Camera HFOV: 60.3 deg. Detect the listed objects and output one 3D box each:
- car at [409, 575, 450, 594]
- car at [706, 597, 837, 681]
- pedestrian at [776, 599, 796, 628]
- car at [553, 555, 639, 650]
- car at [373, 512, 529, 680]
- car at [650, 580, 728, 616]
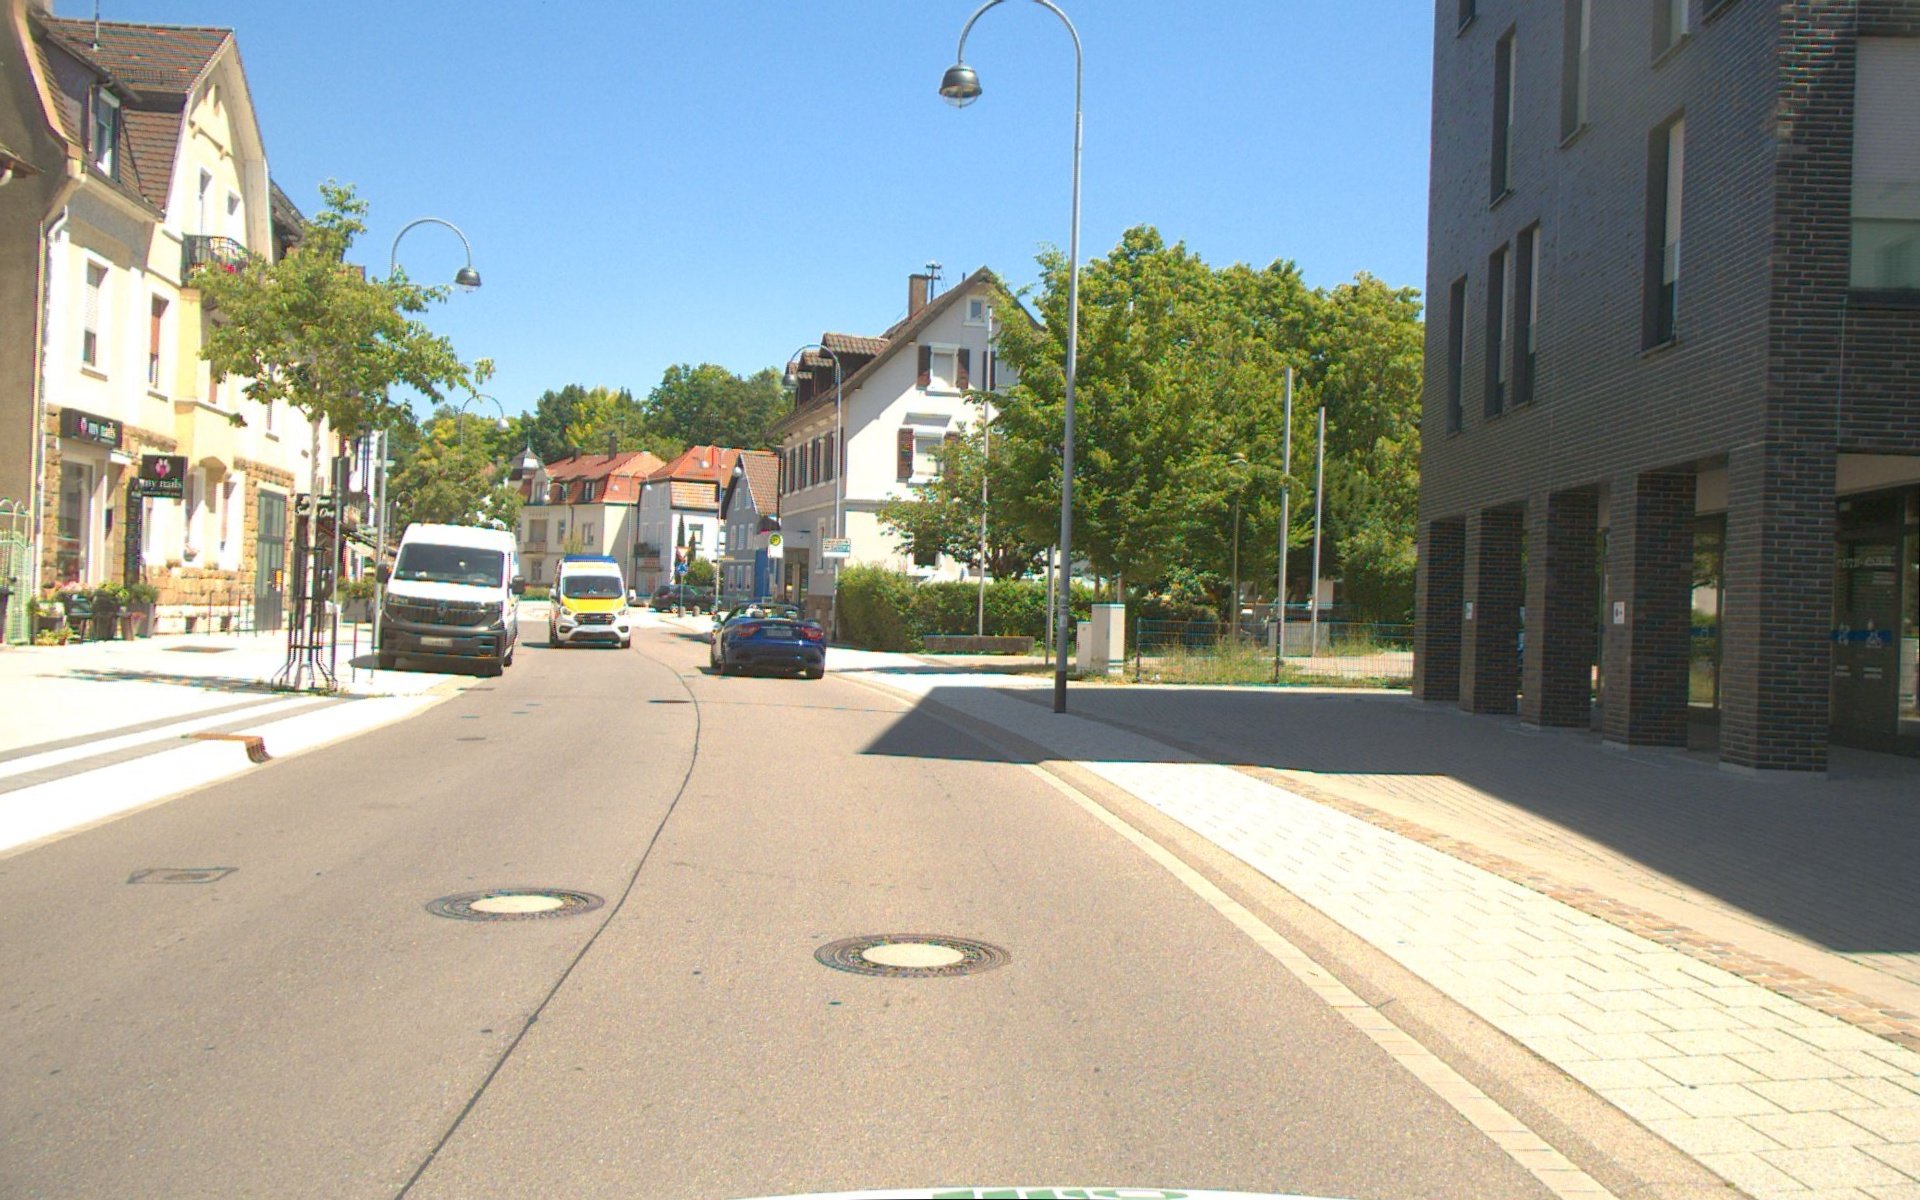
[{"bbox_3d":[-46.699,-1.401,145.509,3.933,1.616,1.843,1,1,45],"label":"car"},{"bbox_3d":[-3.638,0.686,31.287,1.878,1.384,4.270,3,0,-14],"label":"car"},{"bbox_3d":[-6.287,0.484,59.845,0.580,1.017,0.720,1,0,-17],"label":"pedestrian"},{"bbox_3d":[-9.926,0.055,44.805,2.120,2.403,5.228,1,0,-14],"label":"car"},{"bbox_3d":[-8.795,-0.067,29.022,2.056,2.541,5.485,4,-1,-13],"label":"car"},{"bbox_3d":[-14.924,-0.101,91.258,3.904,1.780,1.919,2,0,2],"label":"car"}]
